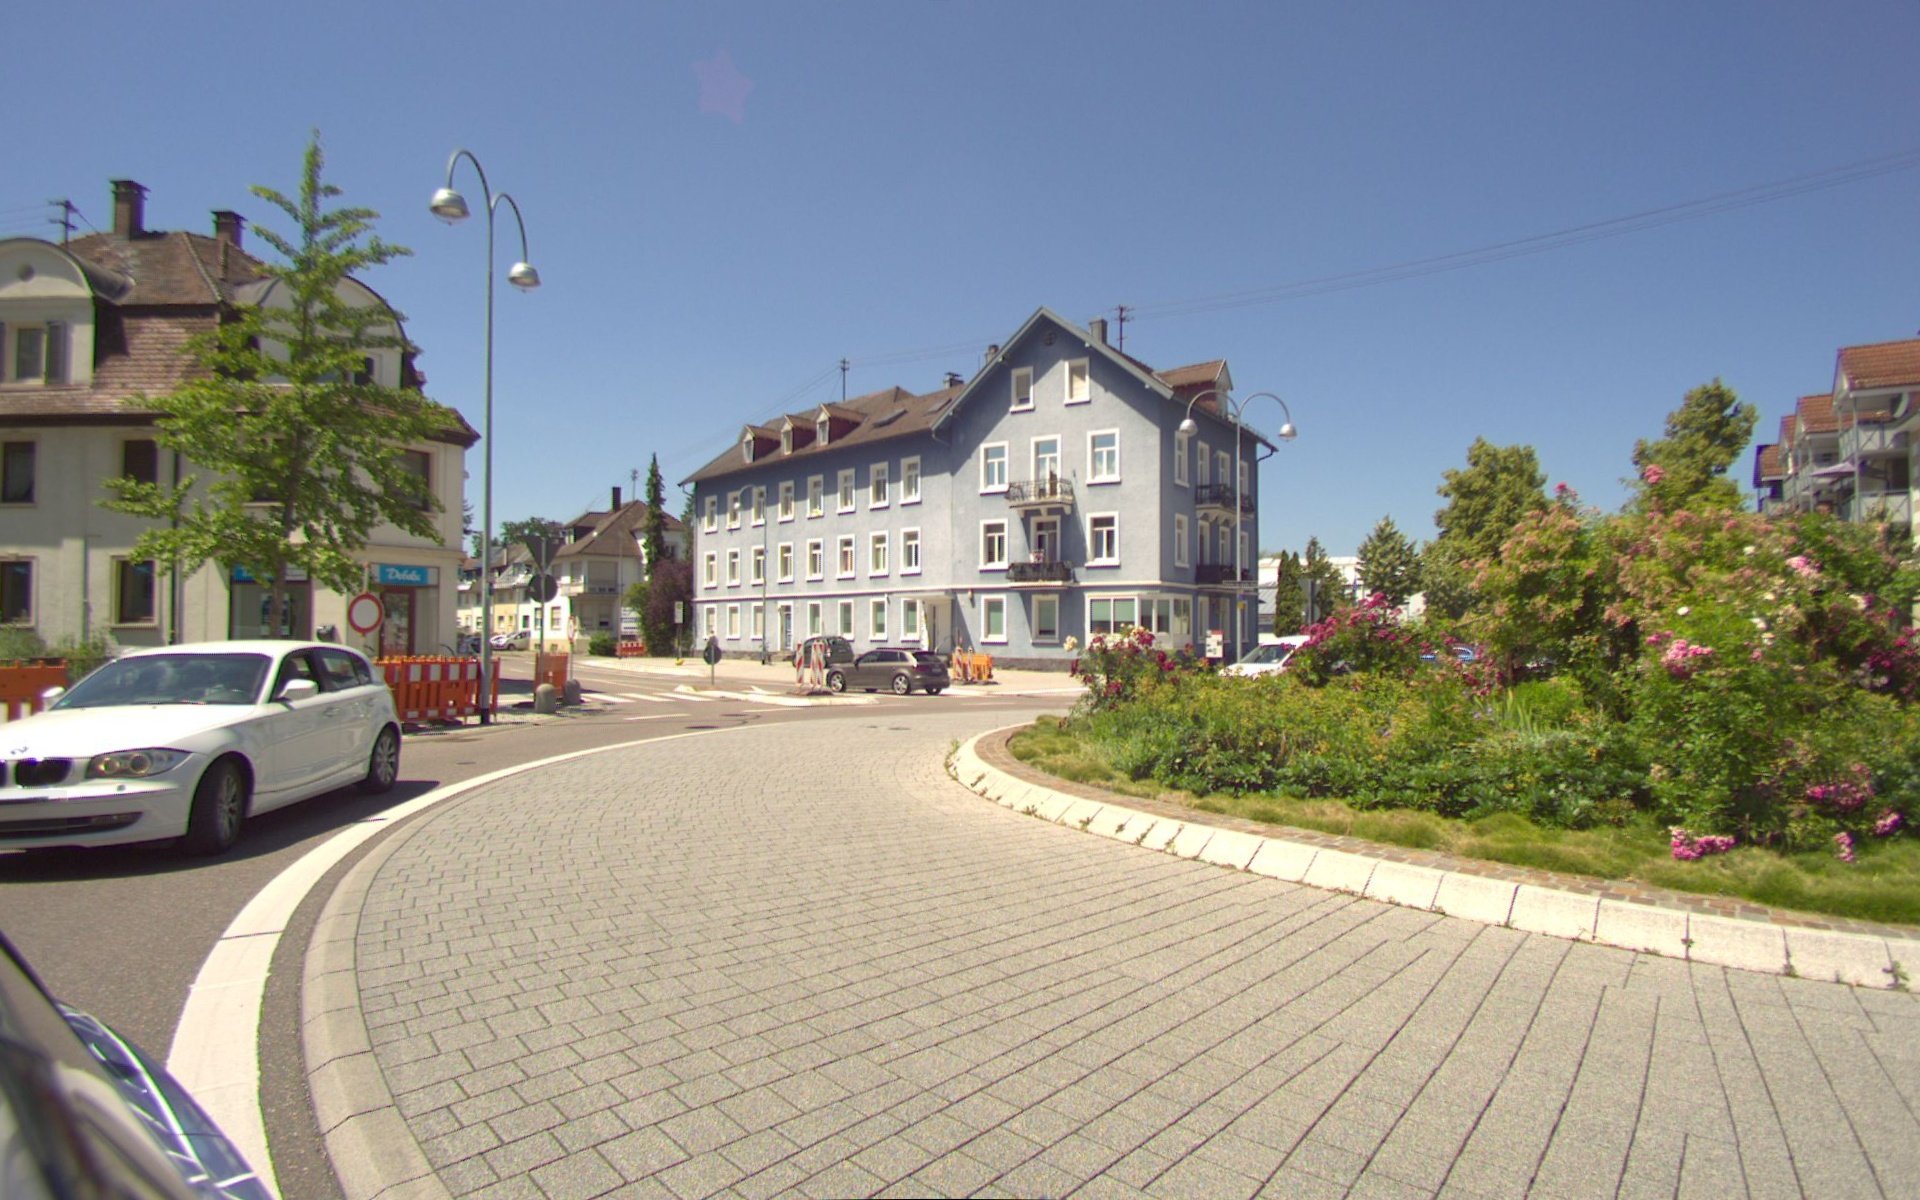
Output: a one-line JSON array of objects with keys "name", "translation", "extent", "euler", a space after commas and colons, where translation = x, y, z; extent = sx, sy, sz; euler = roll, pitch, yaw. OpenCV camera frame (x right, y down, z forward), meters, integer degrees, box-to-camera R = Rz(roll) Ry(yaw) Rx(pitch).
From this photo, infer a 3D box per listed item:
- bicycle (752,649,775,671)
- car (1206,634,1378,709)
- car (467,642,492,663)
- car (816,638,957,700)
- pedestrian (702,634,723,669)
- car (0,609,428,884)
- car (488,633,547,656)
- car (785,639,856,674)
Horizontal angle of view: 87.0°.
[{"name": "bicycle", "translation": [-10.096, 3.074, 51.919], "extent": [0.489, 0.984, 1.979], "euler": [-3, 1, -30]}, {"name": "car", "translation": [8.497, 1.784, 25.854], "extent": [4.170, 1.791, 1.787], "euler": [2, -3, -29]}, {"name": "car", "translation": [-37.124, 4.056, 78.250], "extent": [1.636, 1.463, 4.036], "euler": [4, -3, -25]}, {"name": "car", "translation": [-2.301, 2.101, 31.276], "extent": [4.235, 1.791, 1.759], "euler": [-2, -4, 37]}, {"name": "pedestrian", "translation": [-13.316, 2.767, 54.369], "extent": [0.746, 1.862, 0.773], "euler": [-2, -1, -42]}, {"name": "car", "translation": [-5.896, 0.951, 7.888], "extent": [1.759, 1.563, 4.134], "euler": [-1, -2, -7]}, {"name": "car", "translation": [-38.642, 3.902, 88.518], "extent": [1.850, 1.891, 4.304], "euler": [-2, -5, 42]}, {"name": "car", "translation": [-6.788, 2.709, 49.014], "extent": [1.558, 1.546, 3.781], "euler": [2, -1, -40]}]
